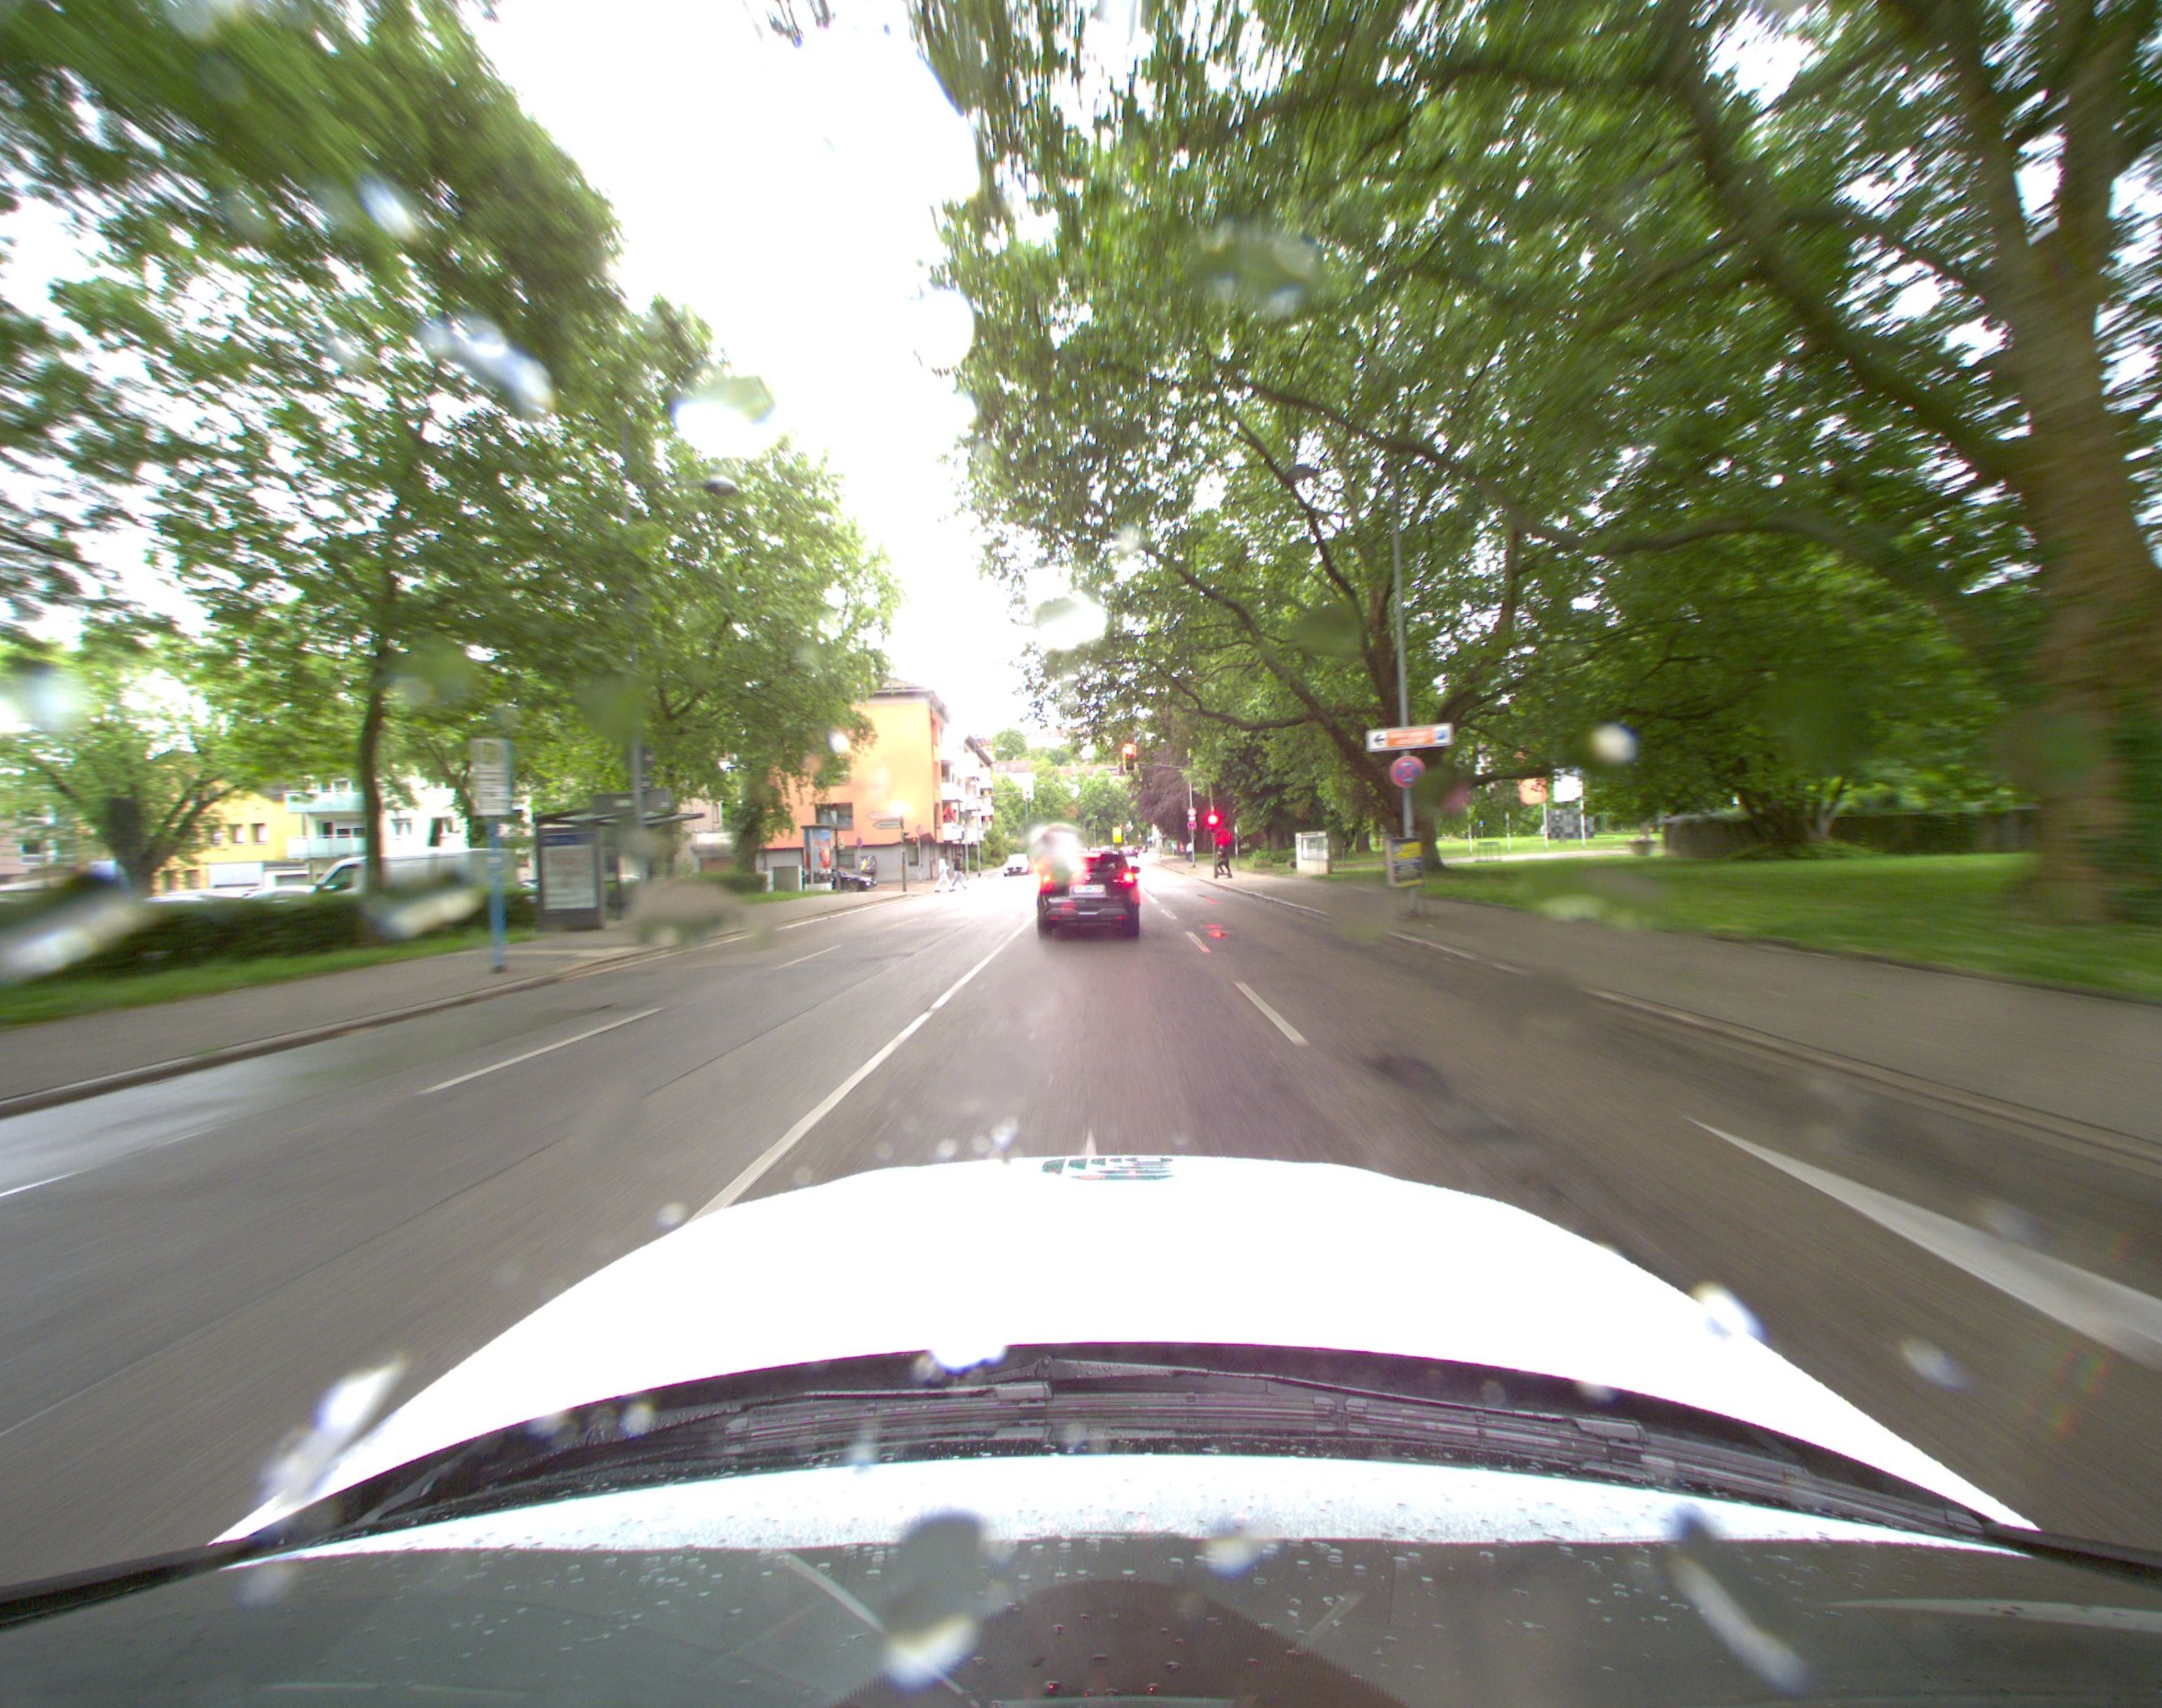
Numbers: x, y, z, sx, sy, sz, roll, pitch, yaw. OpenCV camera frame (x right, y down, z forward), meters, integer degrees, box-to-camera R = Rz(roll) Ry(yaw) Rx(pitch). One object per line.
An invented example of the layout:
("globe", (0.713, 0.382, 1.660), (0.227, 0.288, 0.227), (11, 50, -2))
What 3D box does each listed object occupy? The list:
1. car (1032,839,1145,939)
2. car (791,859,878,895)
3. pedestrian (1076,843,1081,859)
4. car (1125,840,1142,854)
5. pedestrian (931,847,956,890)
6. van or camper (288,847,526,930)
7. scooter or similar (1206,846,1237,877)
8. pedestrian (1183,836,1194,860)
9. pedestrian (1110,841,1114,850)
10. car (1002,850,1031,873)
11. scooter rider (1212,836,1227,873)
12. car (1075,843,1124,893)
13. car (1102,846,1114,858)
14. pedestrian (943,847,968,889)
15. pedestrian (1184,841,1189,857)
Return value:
("car", (0.197, 0.577, 15.872), (1.906, 1.680, 4.002), (-1, 0, 2))
("car", (-12.920, 1.188, 42.932), (4.125, 1.625, 1.845), (-3, 0, -11))
("pedestrian", (-0.283, -0.374, 97.860), (0.506, 1.802, 0.620), (-3, 0, 1))
("car", (6.660, -0.833, 103.337), (1.983, 1.735, 4.007), (0, 0, 6))
("pedestrian", (-6.289, 0.655, 37.225), (1.035, 1.876, 0.656), (-3, 0, -10))
("van or camper", (-17.889, 0.873, 21.800), (4.582, 1.949, 1.999), (-2, 0, -1))
("scooter or similar", (6.954, 0.368, 40.207), (1.384, 1.446, 0.820), (-2, -1, 13))
("pedestrian", (9.366, -0.546, 70.994), (0.722, 2.013, 0.852), (-3, 0, 1))
("pedestrian", (5.770, -1.658, 151.902), (0.503, 1.673, 0.663), (-3, 0, 29))
("car", (-4.515, 0.502, 57.745), (1.791, 1.533, 3.864), (-3, 0, -2))
("scooter rider", (6.854, 0.034, 40.241), (0.638, 1.766, 0.738), (-2, -1, 14))
("car", (0.709, 0.488, 31.190), (1.692, 1.745, 3.642), (-3, 0, 1))
("car", (3.840, -0.288, 115.622), (1.628, 1.532, 3.969), (-3, 0, 2))
("pedestrian", (-5.857, 0.657, 37.972), (1.035, 1.876, 0.656), (-3, 0, -10))
("pedestrian", (9.737, -0.465, 75.156), (0.388, 1.502, 0.559), (-3, 0, 1))
